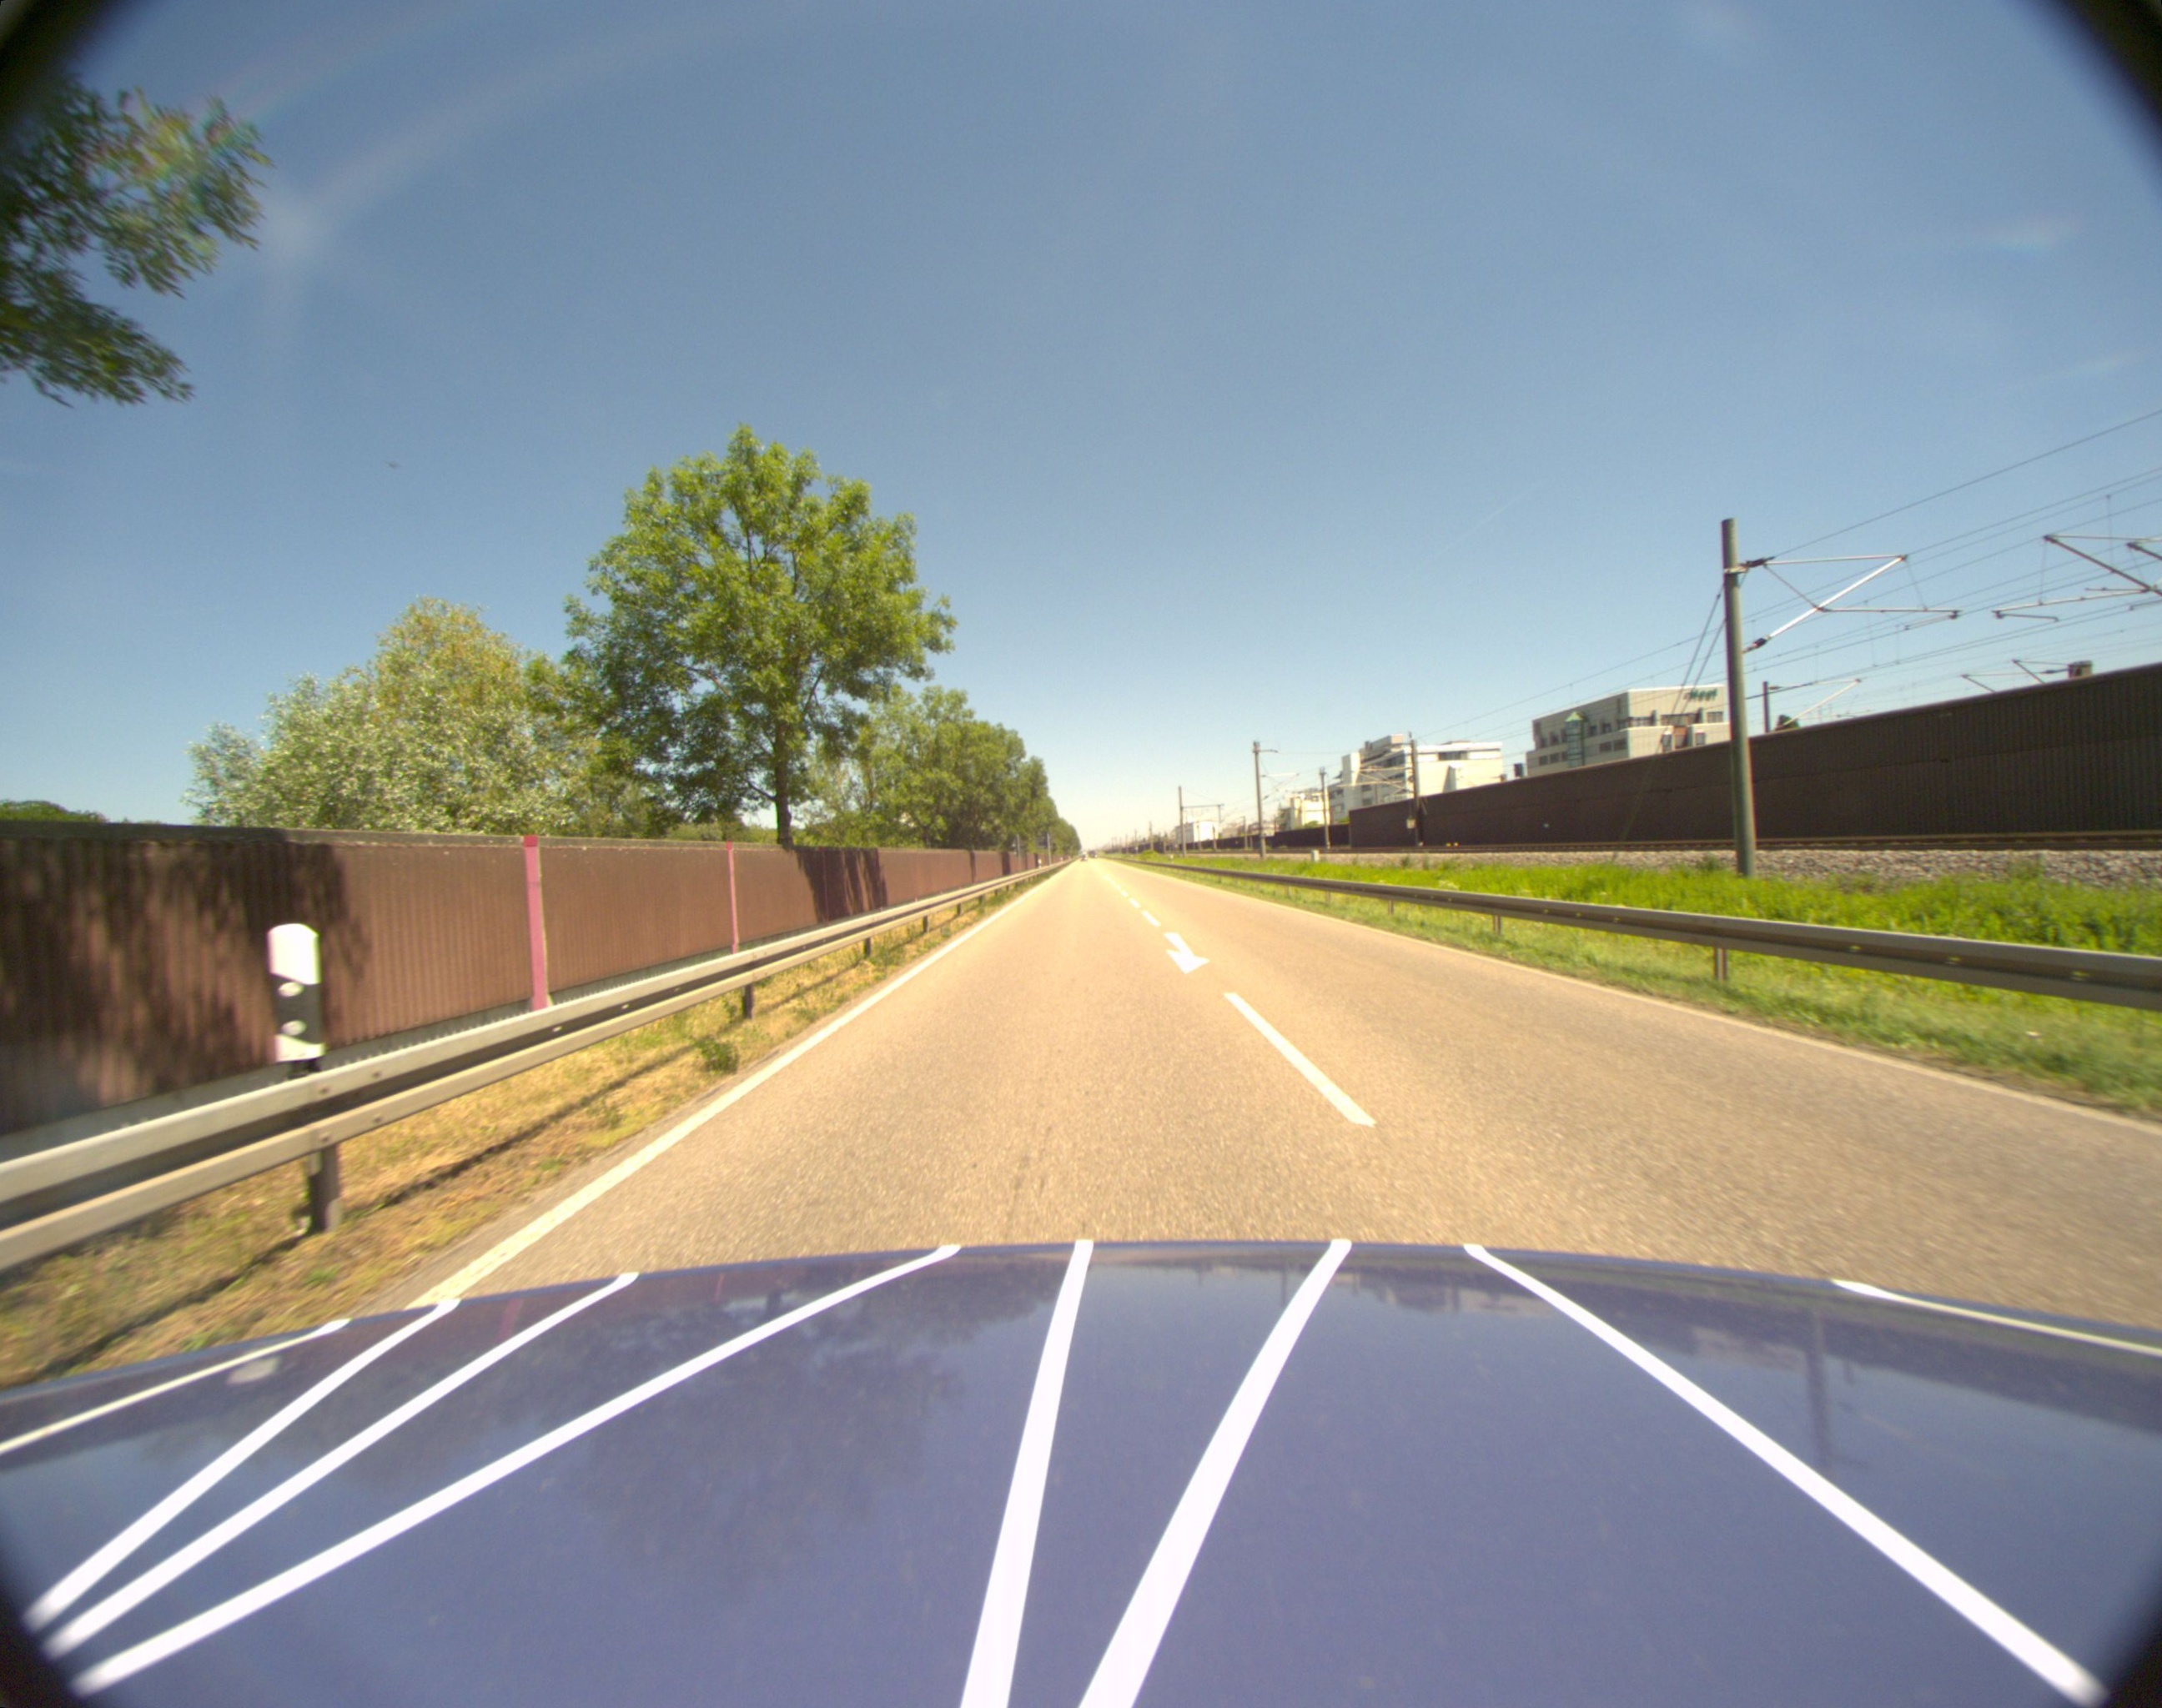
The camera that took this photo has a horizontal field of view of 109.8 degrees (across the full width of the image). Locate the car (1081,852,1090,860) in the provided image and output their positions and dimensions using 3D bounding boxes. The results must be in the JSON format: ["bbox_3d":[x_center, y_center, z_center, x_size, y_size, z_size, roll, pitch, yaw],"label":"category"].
[{"bbox_3d":[1.128,0.462,195.504,1.998,2.002,4.001,-2,0,3],"label":"car"}]
